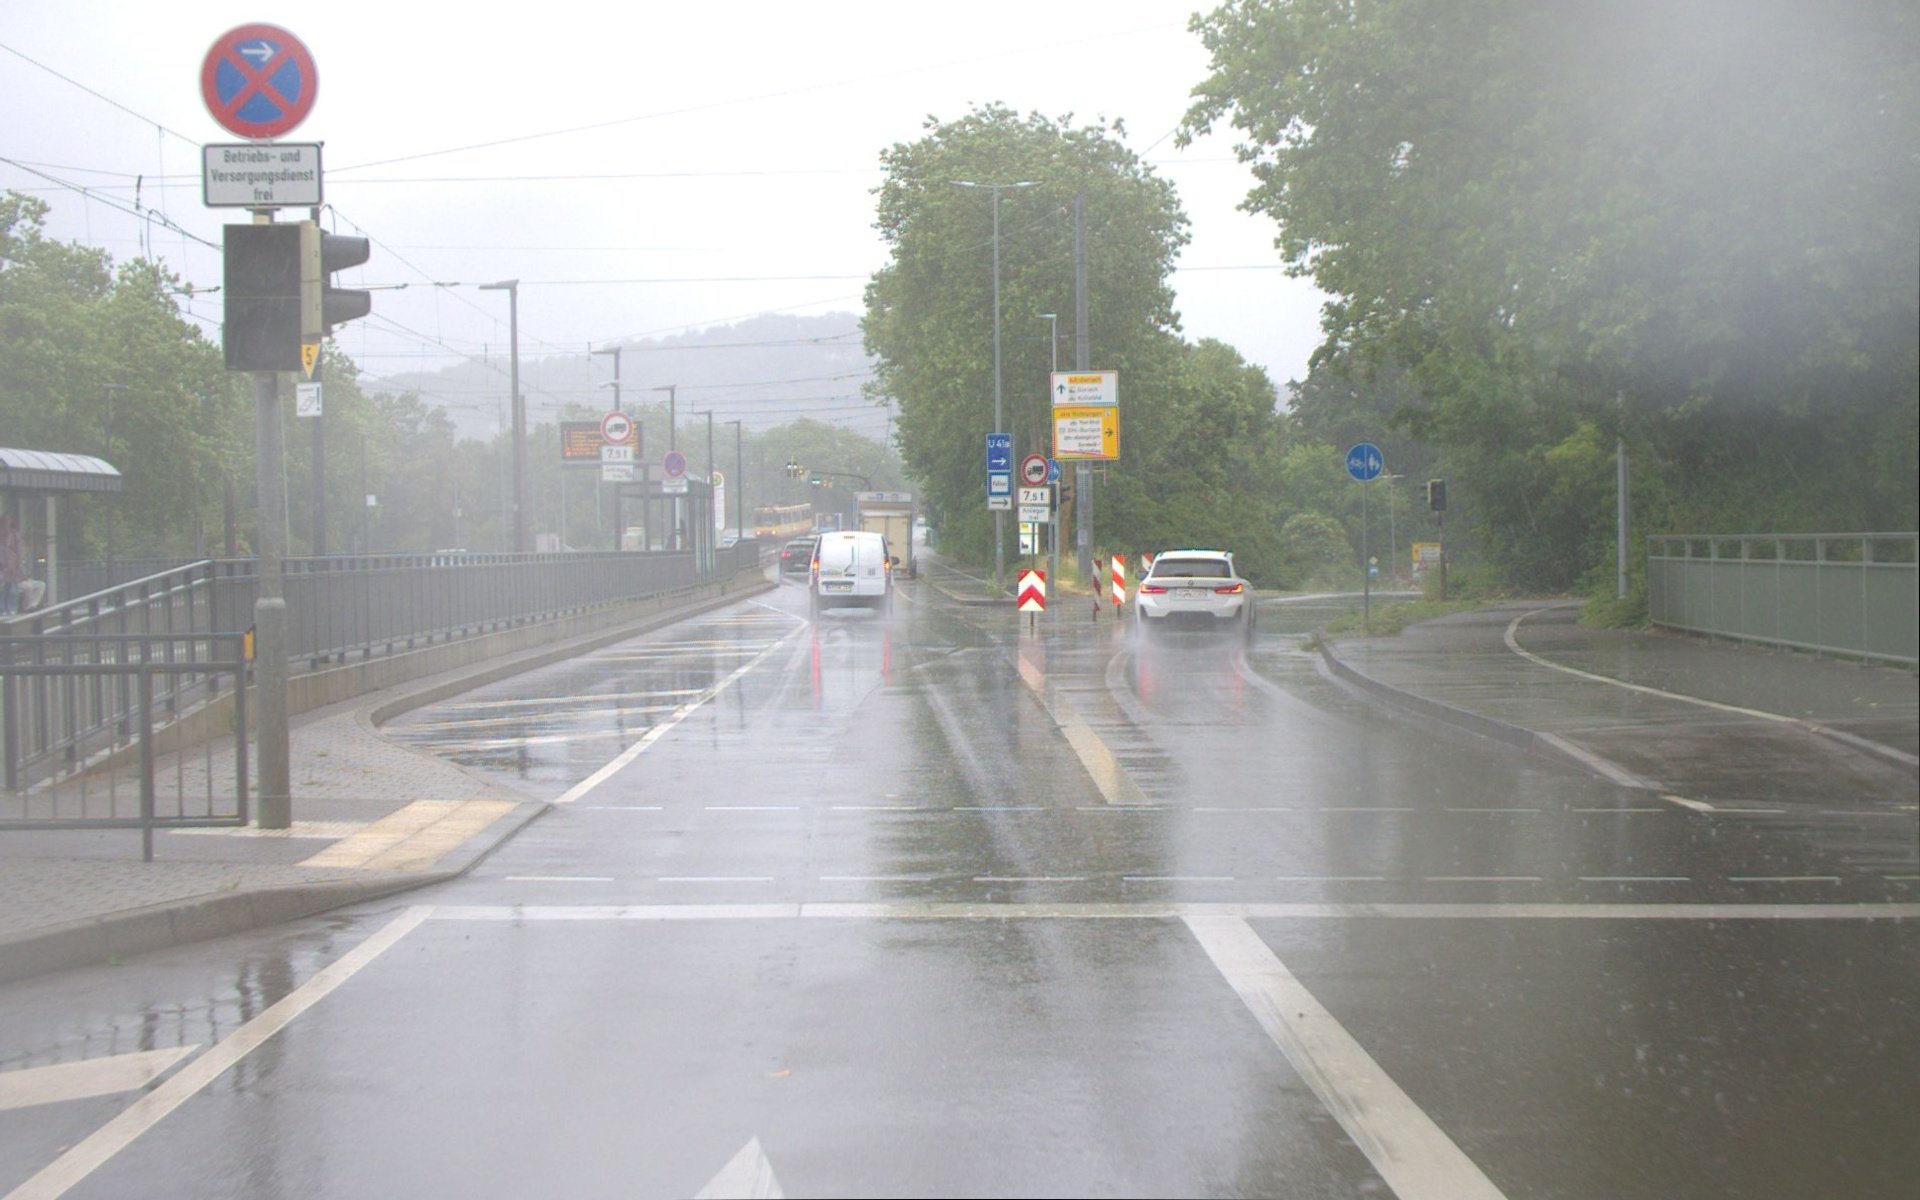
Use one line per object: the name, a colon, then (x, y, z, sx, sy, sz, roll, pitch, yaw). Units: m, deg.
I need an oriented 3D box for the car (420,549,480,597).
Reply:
car: (-21.698, -1.144, 146.420, 1.993, 2.007, 4.000, 0, 0, 0)

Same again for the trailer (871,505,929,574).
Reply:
trailer: (-2.420, -2.429, 139.819, 2.166, 2.748, 5.676, 0, 0, 1)

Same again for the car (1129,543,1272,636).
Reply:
car: (3.908, -0.198, 55.292, 1.889, 1.426, 3.998, 0, 1, 10)

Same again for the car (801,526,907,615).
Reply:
car: (-2.242, -0.653, 73.749, 1.993, 1.842, 4.000, 0, 1, 2)

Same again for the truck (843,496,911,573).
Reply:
truck: (-4.180, -3.202, 171.013, 2.775, 3.691, 9.854, 0, 0, -5)

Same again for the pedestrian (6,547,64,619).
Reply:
pedestrian: (-17.167, -0.326, 63.809, 0.831, 1.312, 0.858, 1, 1, -1)
